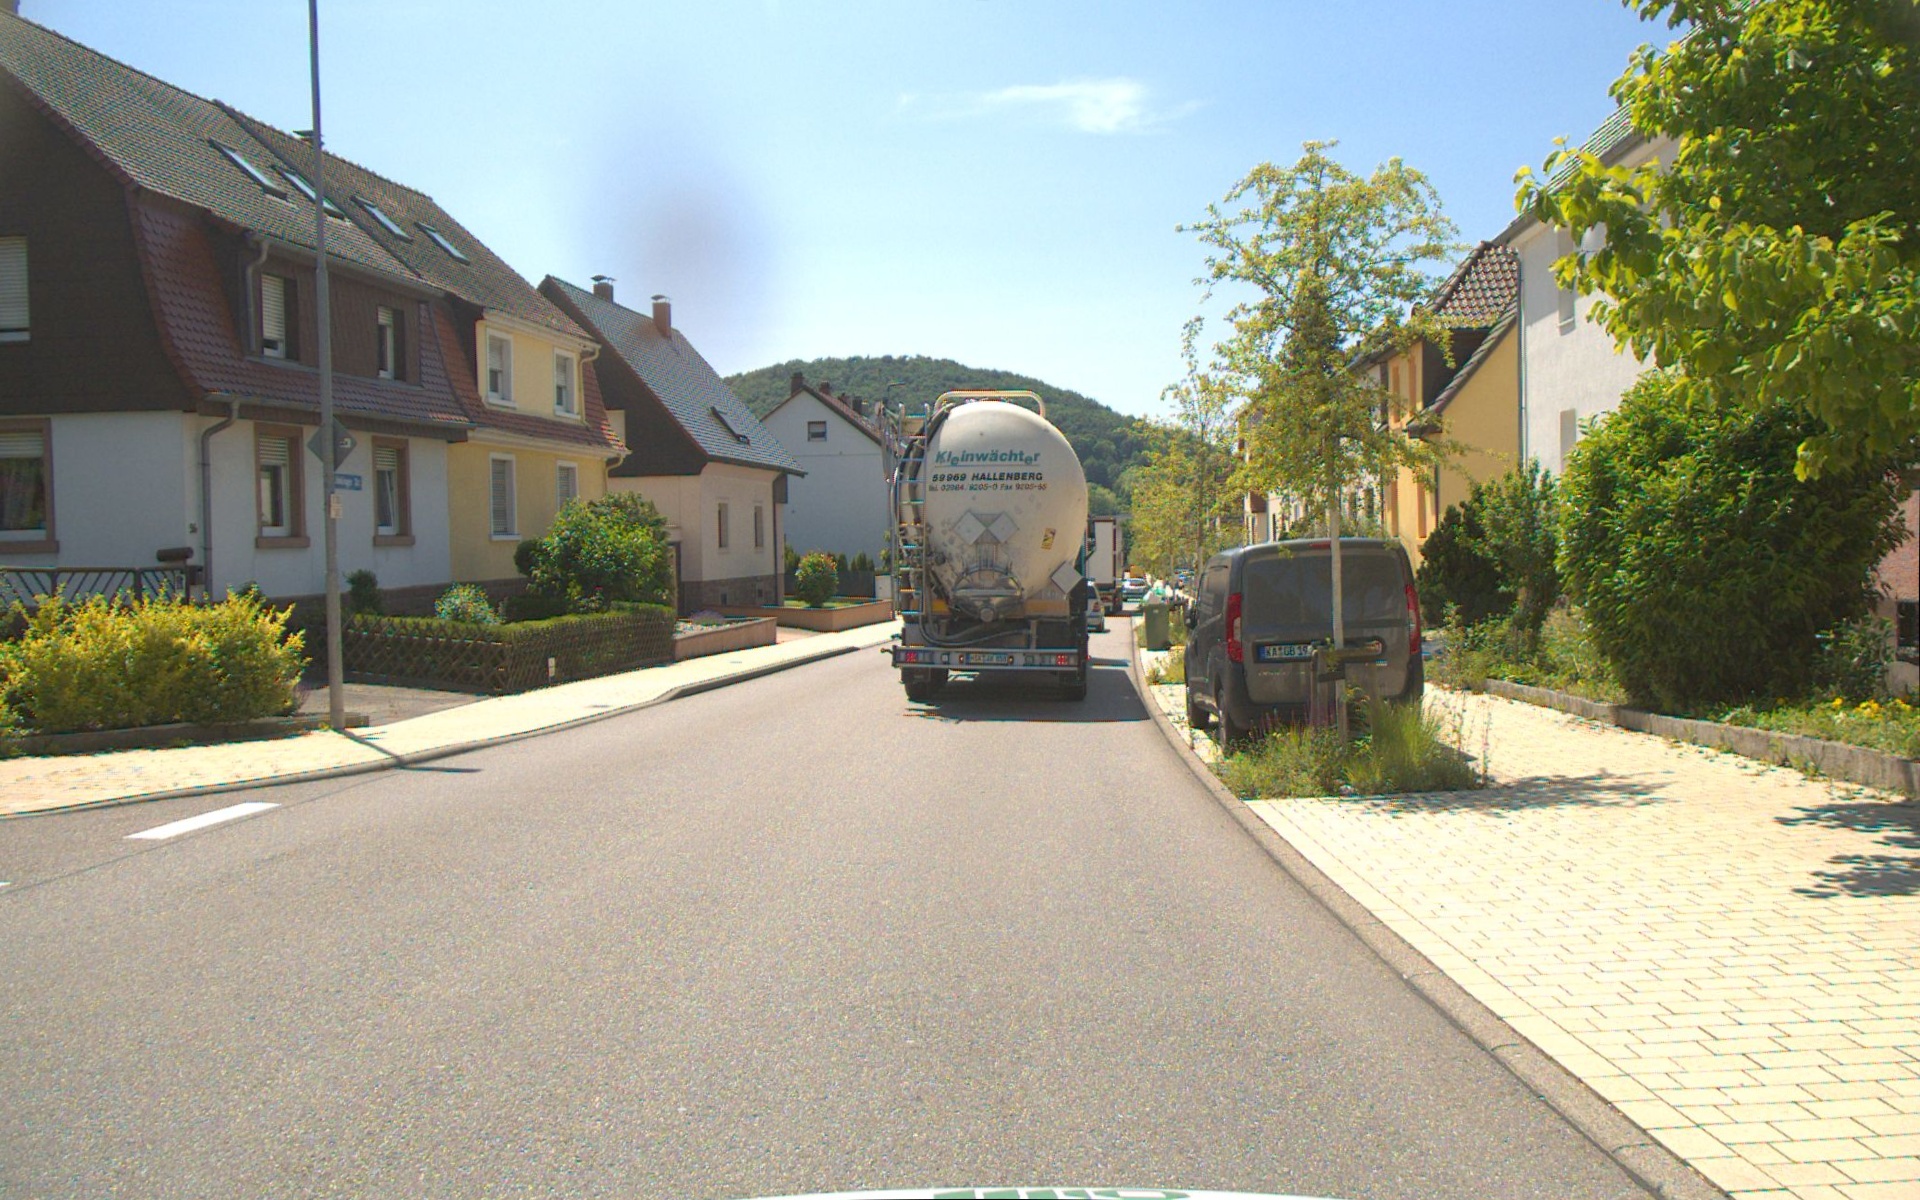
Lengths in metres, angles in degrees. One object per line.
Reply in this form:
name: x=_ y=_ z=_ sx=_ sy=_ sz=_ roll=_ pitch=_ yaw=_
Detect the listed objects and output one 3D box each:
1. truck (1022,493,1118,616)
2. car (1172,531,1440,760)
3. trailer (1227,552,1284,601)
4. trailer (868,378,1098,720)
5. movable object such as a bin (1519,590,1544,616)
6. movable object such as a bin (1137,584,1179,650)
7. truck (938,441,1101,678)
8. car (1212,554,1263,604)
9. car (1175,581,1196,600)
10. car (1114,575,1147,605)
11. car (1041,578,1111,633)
truck: x=4.907 y=-1.982 z=73.686 sx=3.828 sy=4.981 sz=9.801 roll=-2 pitch=1 yaw=4
car: x=3.215 y=0.350 z=16.287 sx=1.816 sy=1.874 sz=4.673 roll=-2 pitch=1 yaw=3
trailer: x=12.520 y=-0.980 z=70.045 sx=2.254 sy=2.049 sz=1.304 roll=-1 pitch=1 yaw=-42
trailer: x=0.703 y=-0.708 z=24.913 sx=2.737 sy=4.070 sz=10.331 roll=0 pitch=1 yaw=5
movable object such as a bin: x=12.616 y=0.060 z=36.509 sx=0.444 sy=0.581 sz=0.375 roll=0 pitch=0 yaw=6
movable object such as a bin: x=4.465 y=0.376 z=37.318 sx=0.775 sy=1.419 sz=0.926 roll=-5 pitch=0 yaw=3
truck: x=1.257 y=-0.754 z=31.239 sx=2.749 sy=4.005 sz=6.103 roll=1 pitch=1 yaw=5
car: x=12.588 y=-0.967 z=75.201 sx=1.814 sy=2.004 sz=4.777 roll=-6 pitch=0 yaw=6
car: x=19.490 y=-0.817 z=143.196 sx=1.752 sy=1.568 sz=4.523 roll=-1 pitch=0 yaw=7
car: x=10.737 y=-0.652 z=104.403 sx=1.951 sy=1.853 sz=4.002 roll=0 pitch=1 yaw=4
car: x=3.698 y=0.143 z=52.122 sx=1.868 sy=1.581 sz=4.004 roll=-2 pitch=1 yaw=8
